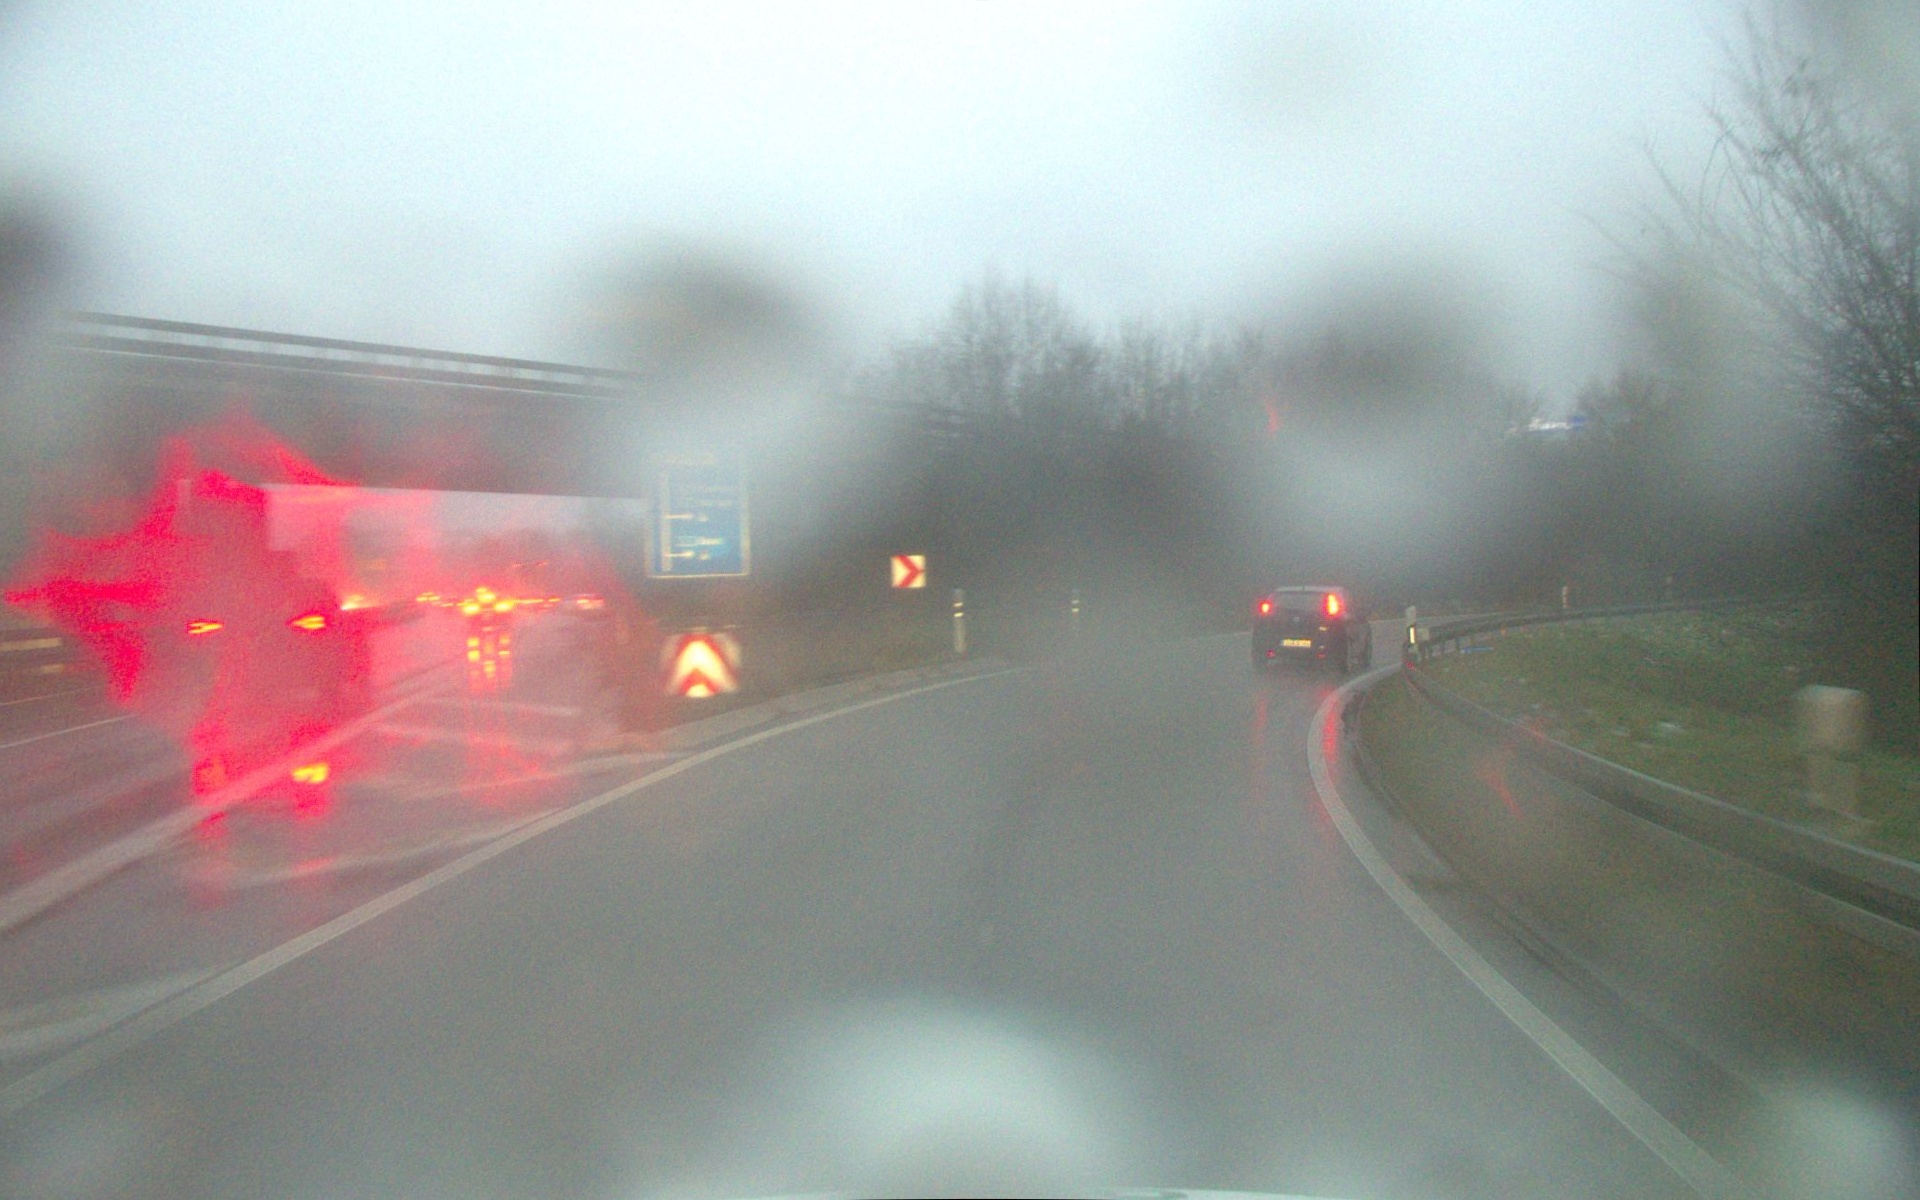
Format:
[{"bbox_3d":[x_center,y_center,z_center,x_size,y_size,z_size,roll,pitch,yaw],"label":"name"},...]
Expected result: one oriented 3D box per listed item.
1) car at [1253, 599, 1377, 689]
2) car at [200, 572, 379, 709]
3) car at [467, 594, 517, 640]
[{"bbox_3d":[6.480,0.739,29.931,1.696,1.454,3.766,1,1,20],"label":"car"},{"bbox_3d":[-9.591,0.525,23.959,1.963,1.693,3.981,-4,1,-17],"label":"car"},{"bbox_3d":[-19.556,0.681,69.204,1.847,1.645,3.861,-2,3,-14],"label":"car"}]
